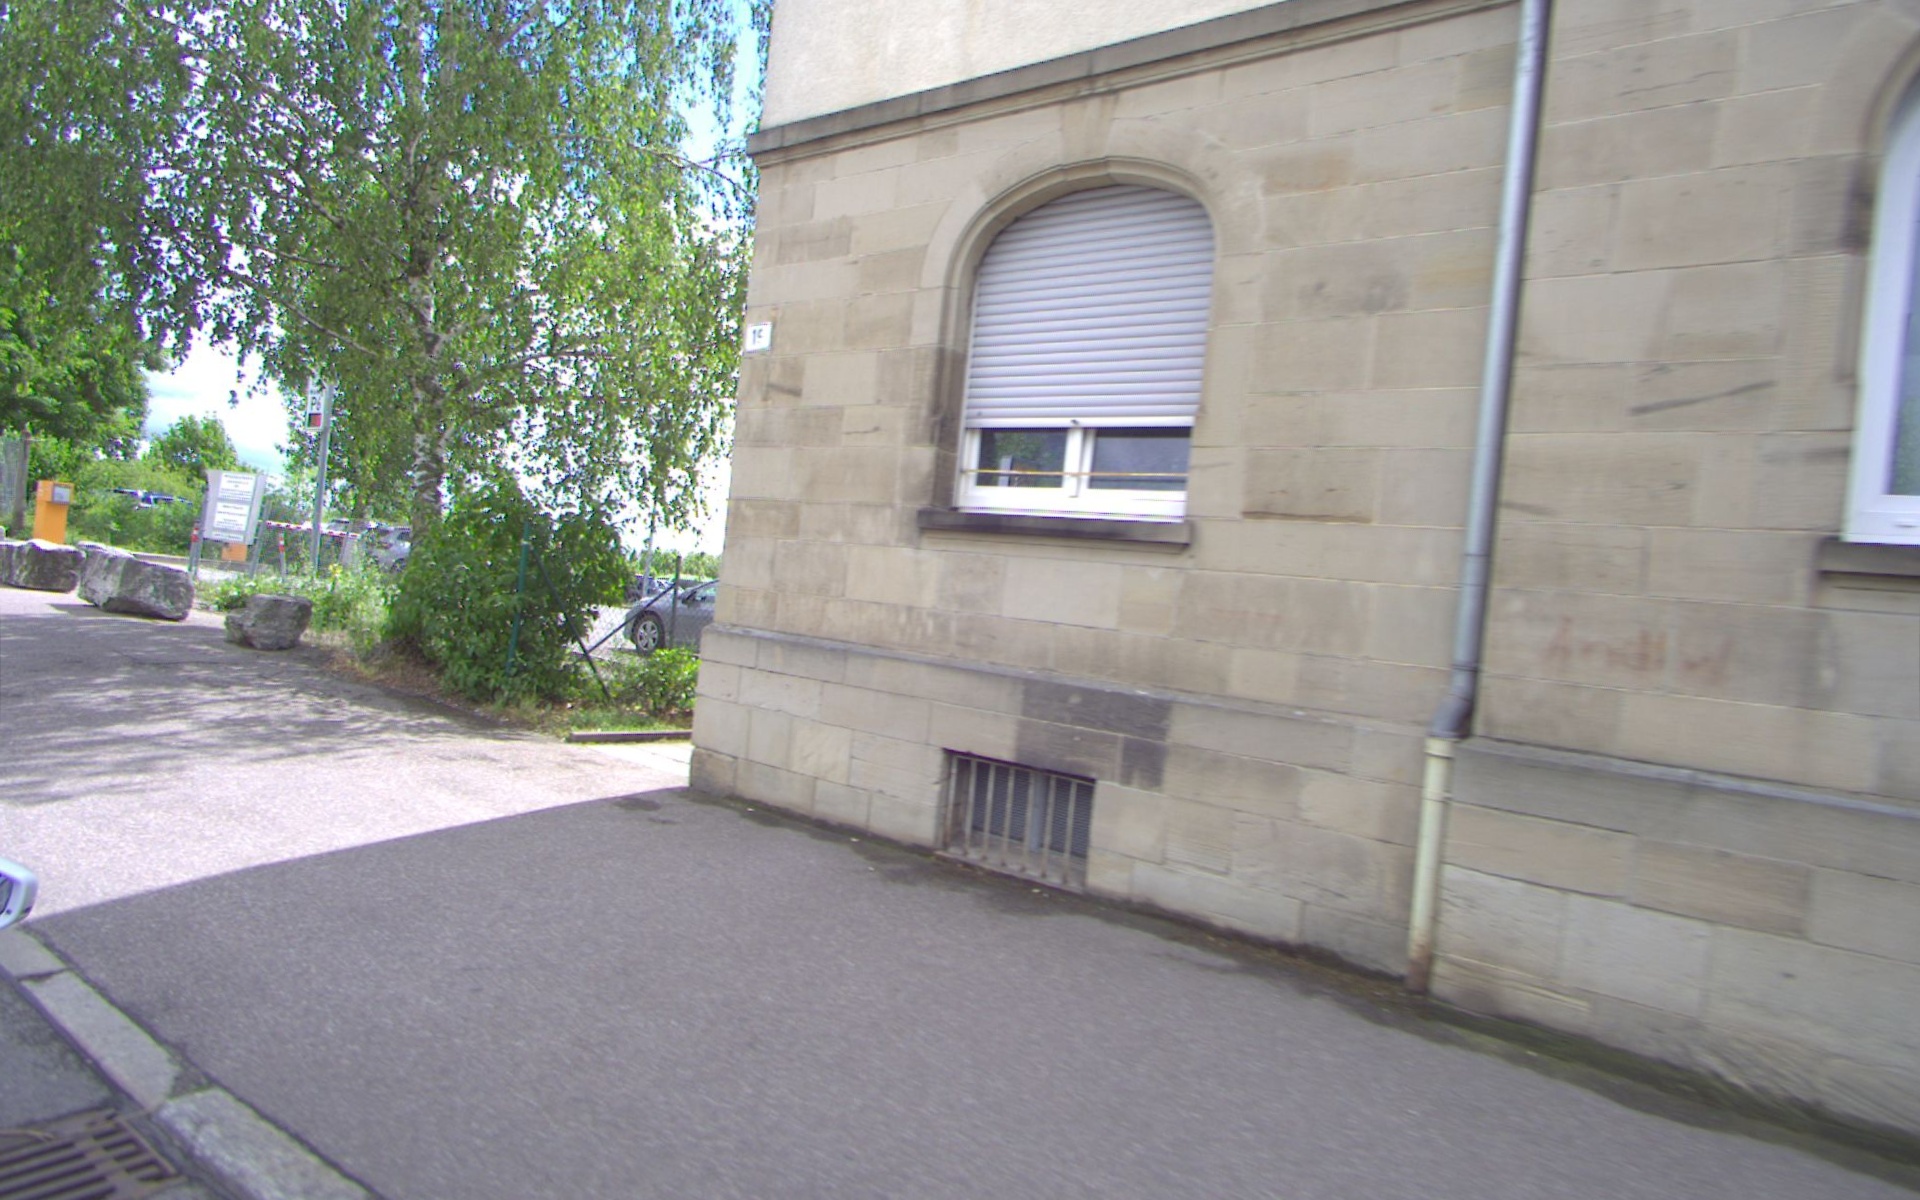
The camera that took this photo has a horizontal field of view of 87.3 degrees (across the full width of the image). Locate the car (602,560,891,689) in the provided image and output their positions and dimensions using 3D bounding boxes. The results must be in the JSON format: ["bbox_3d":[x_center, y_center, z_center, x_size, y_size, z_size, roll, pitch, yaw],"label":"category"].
[{"bbox_3d":[-3.282,0.346,15.275,4.074,1.405,1.721,5,-4,31],"label":"car"}]

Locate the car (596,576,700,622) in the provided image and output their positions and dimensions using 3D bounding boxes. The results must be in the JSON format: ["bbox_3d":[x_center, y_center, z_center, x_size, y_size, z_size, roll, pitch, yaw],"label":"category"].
[{"bbox_3d":[-13.798,-0.045,44.569,3.923,1.405,1.725,7,-3,11],"label":"car"}]

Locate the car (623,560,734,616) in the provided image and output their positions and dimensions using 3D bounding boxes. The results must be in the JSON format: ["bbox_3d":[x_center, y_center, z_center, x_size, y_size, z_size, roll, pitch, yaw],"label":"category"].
[{"bbox_3d":[-13.281,-0.553,47.601,4.560,1.895,1.725,7,-3,5],"label":"car"}]

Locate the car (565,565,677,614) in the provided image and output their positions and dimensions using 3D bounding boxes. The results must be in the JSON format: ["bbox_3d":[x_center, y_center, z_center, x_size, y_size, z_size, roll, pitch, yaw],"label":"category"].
[{"bbox_3d":[-13.983,-0.425,41.591,3.923,1.405,1.725,7,-3,11],"label":"car"}]

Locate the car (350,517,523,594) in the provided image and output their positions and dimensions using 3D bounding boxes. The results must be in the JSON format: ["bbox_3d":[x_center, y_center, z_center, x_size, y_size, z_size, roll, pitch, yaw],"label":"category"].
[{"bbox_3d":[-15.095,-1.256,29.192,1.750,1.501,3.992,5,-5,37],"label":"car"}]

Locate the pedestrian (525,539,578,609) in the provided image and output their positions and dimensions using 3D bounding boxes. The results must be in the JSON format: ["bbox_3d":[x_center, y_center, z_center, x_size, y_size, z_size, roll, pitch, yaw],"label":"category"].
[{"bbox_3d":[-11.013,-0.682,27.137,0.864,1.715,0.816,7,-3,2],"label":"pedestrian"}]
